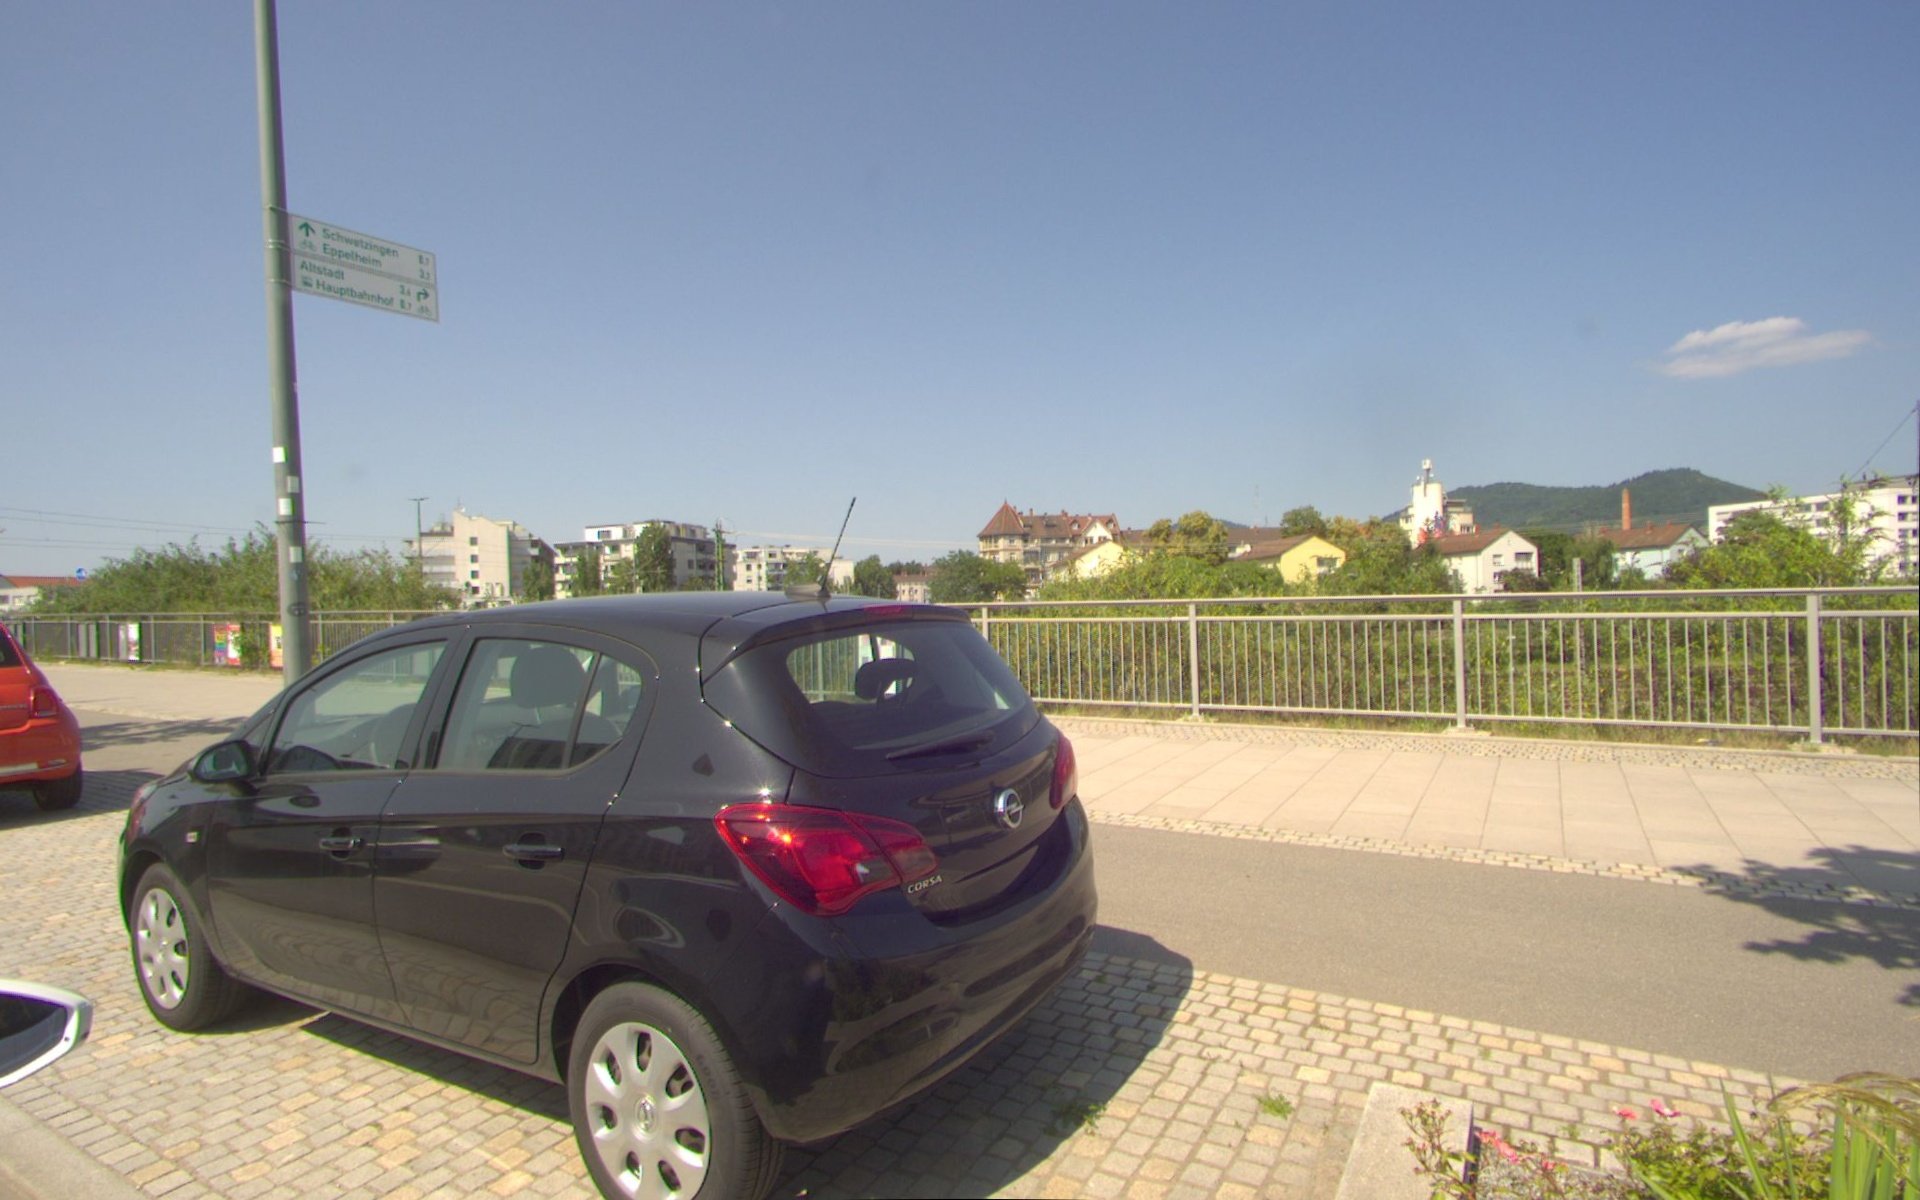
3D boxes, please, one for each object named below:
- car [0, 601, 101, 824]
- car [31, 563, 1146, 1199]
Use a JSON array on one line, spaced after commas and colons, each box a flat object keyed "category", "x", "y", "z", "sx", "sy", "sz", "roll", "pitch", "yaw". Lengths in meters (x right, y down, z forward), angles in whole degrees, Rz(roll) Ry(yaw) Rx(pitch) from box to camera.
[{"category": "car", "x": -8.144, "y": 0.807, "z": 7.583, "sx": 3.305, "sy": 1.517, "sz": 1.605, "roll": -1, "pitch": 2, "yaw": 34}, {"category": "car", "x": -1.509, "y": 0.681, "z": 3.590, "sx": 3.943, "sy": 1.445, "sz": 1.656, "roll": -1, "pitch": 1, "yaw": 32}]
